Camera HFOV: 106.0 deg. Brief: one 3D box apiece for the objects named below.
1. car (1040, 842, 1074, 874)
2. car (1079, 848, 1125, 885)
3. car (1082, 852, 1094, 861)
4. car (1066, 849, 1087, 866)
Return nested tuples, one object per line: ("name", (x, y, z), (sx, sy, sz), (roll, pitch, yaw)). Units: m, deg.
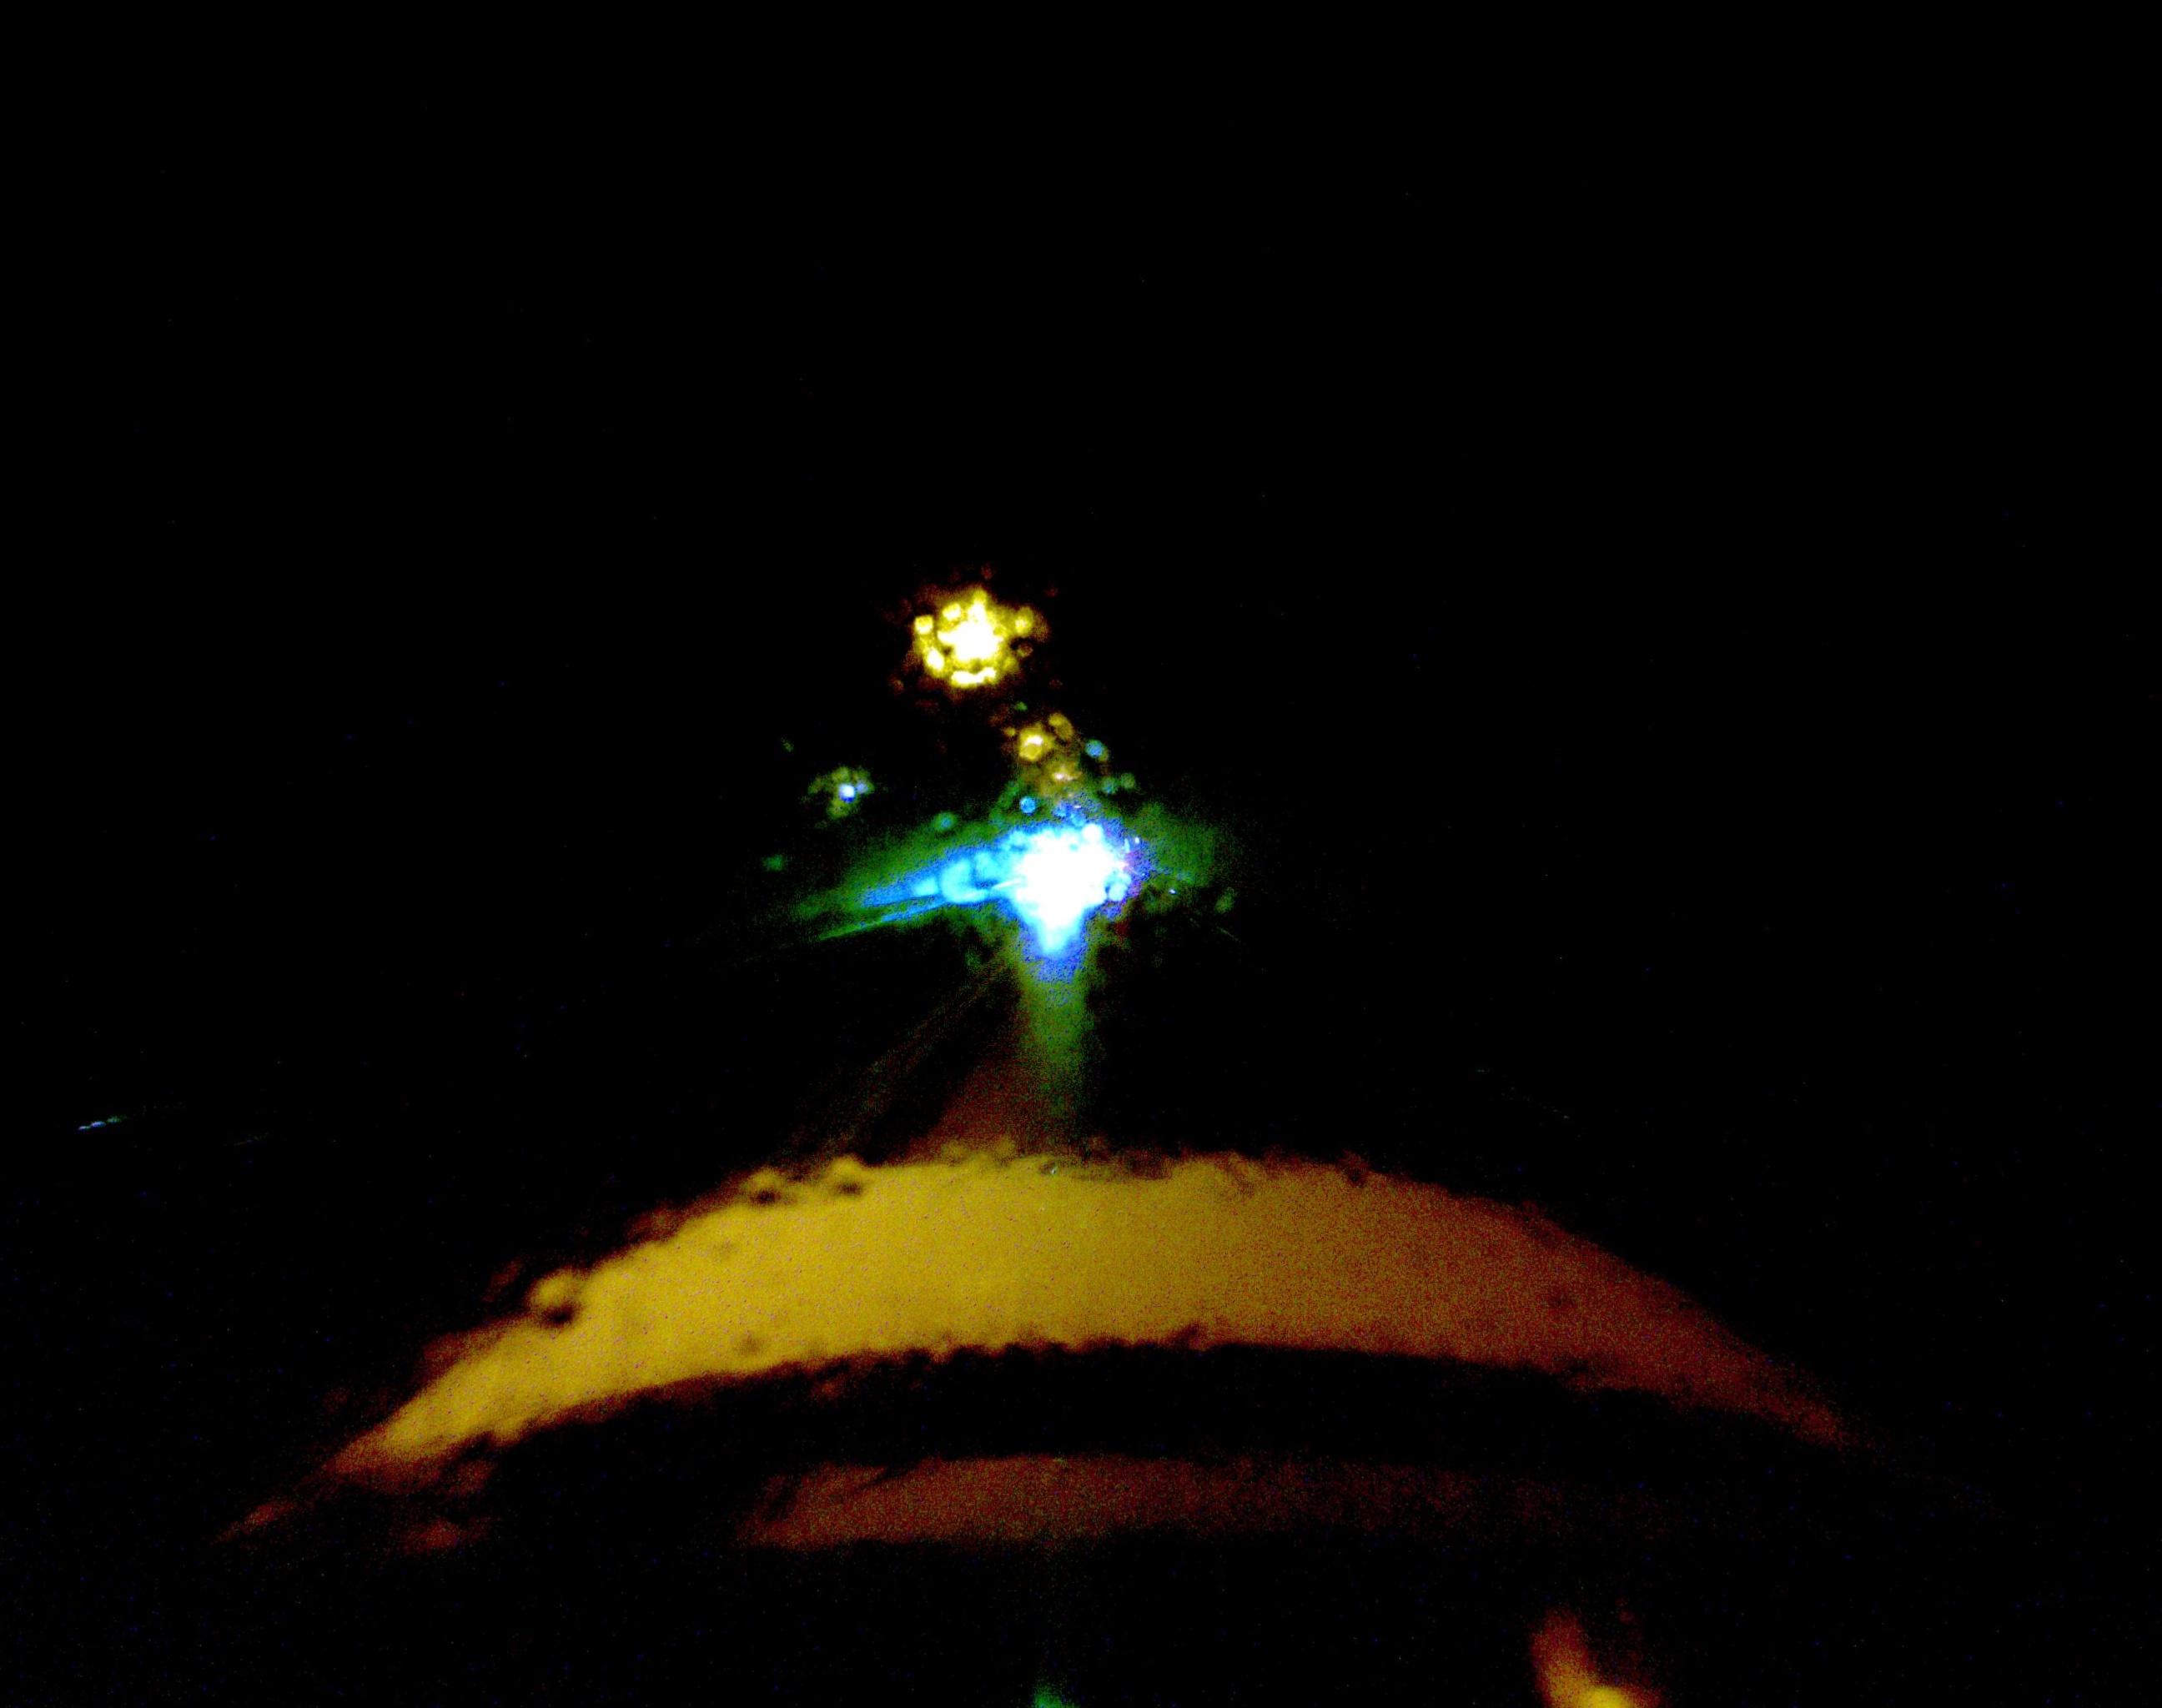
("car", (-1.605, 0.256, 55.855), (1.986, 2.013, 4.002), (-2, 0, 2))
("car", (1.032, 0.574, 39.578), (2.082, 1.662, 4.002), (-2, 0, 2))
("car", (1.060, 0.365, 114.187), (1.545, 1.244, 4.002), (-2, 0, 2))
("car", (-0.464, 0.352, 86.711), (1.986, 1.651, 4.002), (-2, 0, 2))
